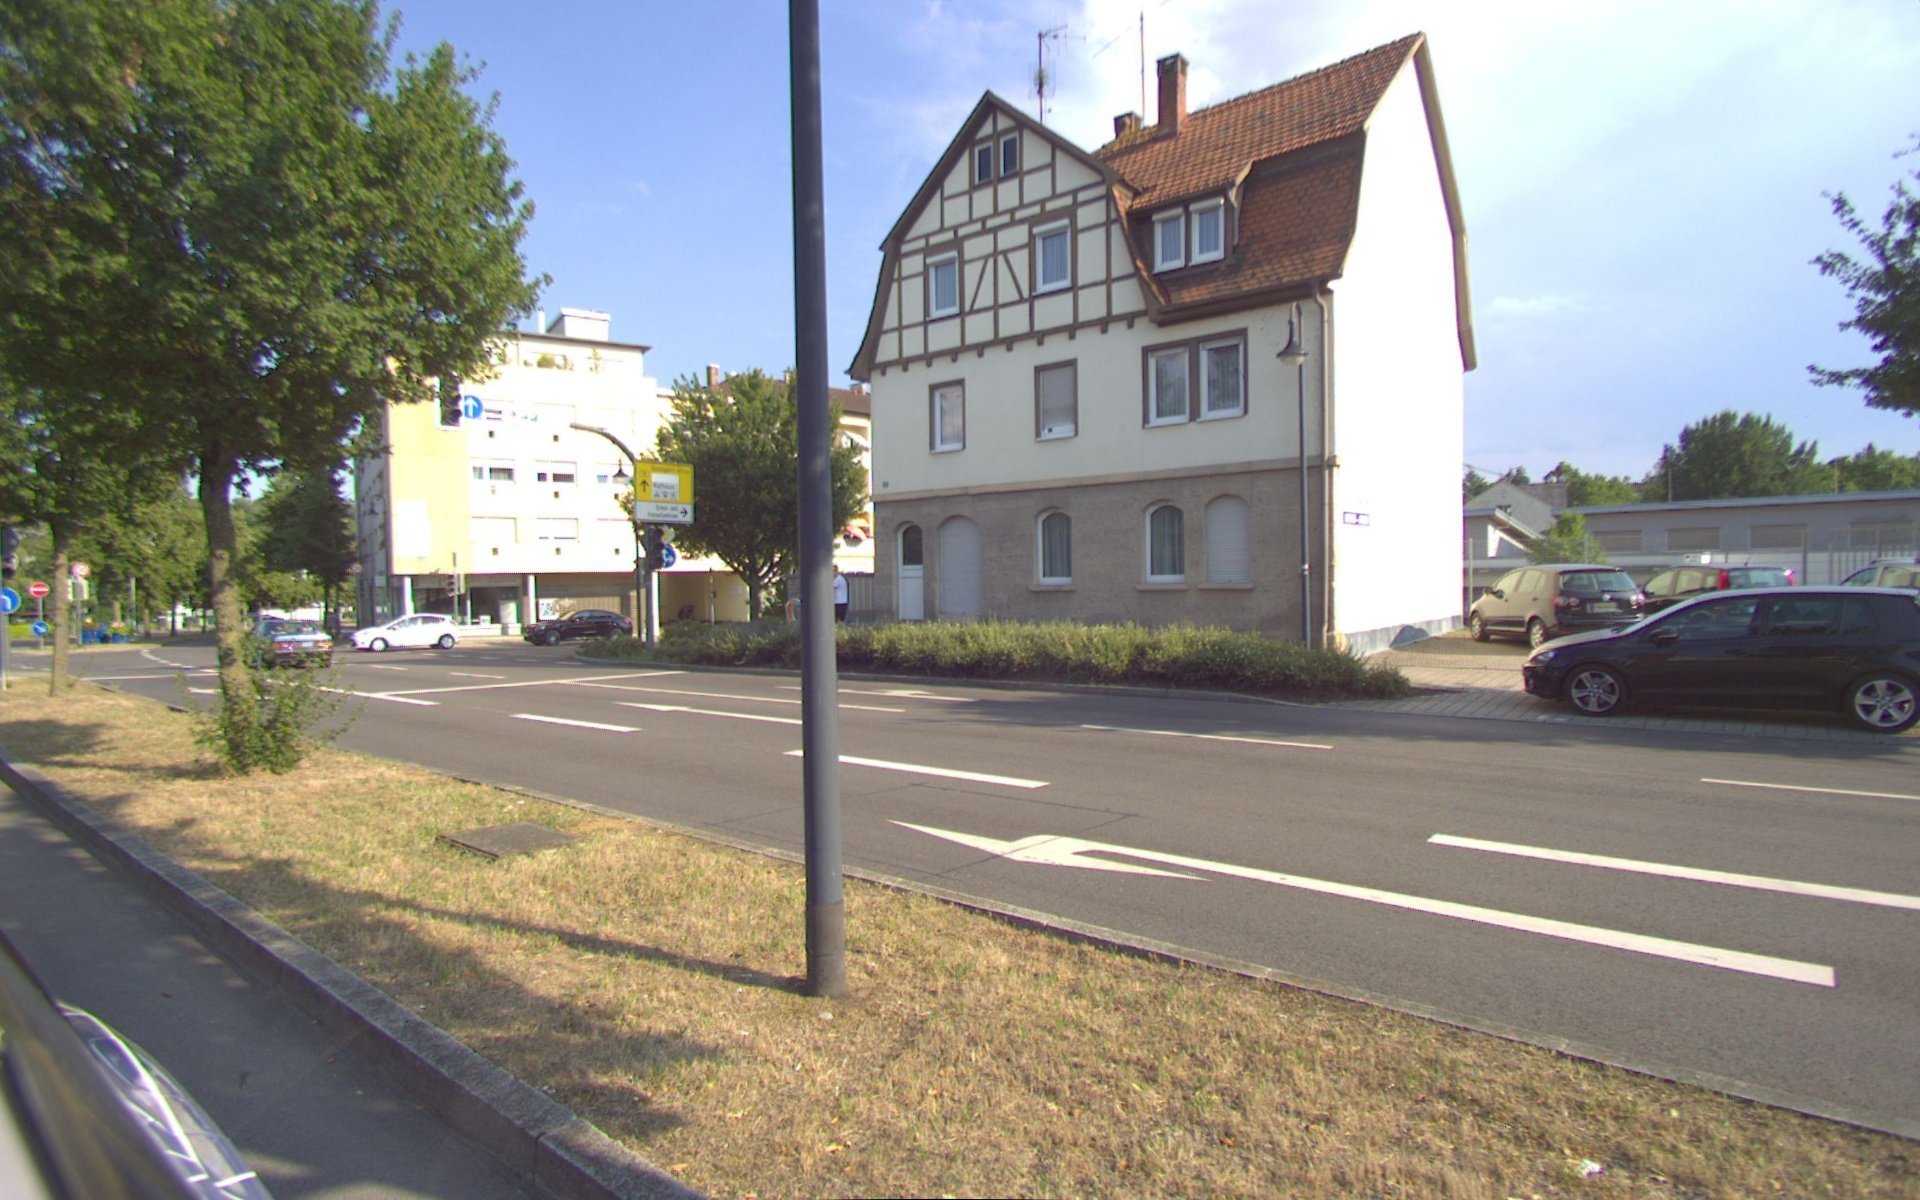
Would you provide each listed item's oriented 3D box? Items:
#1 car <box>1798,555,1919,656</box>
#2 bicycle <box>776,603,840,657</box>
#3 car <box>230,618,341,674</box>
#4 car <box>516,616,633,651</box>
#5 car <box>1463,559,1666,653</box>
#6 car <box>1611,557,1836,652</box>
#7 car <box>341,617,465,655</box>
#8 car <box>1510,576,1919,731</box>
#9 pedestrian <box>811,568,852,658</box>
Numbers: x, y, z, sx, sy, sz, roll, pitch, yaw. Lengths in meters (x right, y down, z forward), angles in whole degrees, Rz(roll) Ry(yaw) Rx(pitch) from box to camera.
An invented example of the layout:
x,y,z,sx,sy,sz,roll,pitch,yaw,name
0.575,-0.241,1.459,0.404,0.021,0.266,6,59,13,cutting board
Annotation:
x,y,z,sx,sy,sz,roll,pitch,yaw,name
16.319,0.068,17.233,1.753,1.564,3.977,-1,0,17,car
-3.566,0.682,23.694,1.514,1.231,0.672,-1,0,42,bicycle
-18.900,1.226,28.283,4.163,1.364,1.742,0,0,44,car
-17.179,1.457,45.244,4.595,1.364,1.770,-1,0,-42,car
11.254,0.042,19.197,1.746,1.563,3.993,-2,2,6,car
13.990,0.075,18.860,1.749,1.564,3.986,-1,0,11,car
-22.425,1.421,40.855,4.070,1.364,1.769,-1,0,-44,car
8.923,0.526,11.726,4.192,1.454,1.816,0,3,40,car
-2.939,0.289,23.129,0.588,1.997,0.690,-1,0,42,pedestrian
